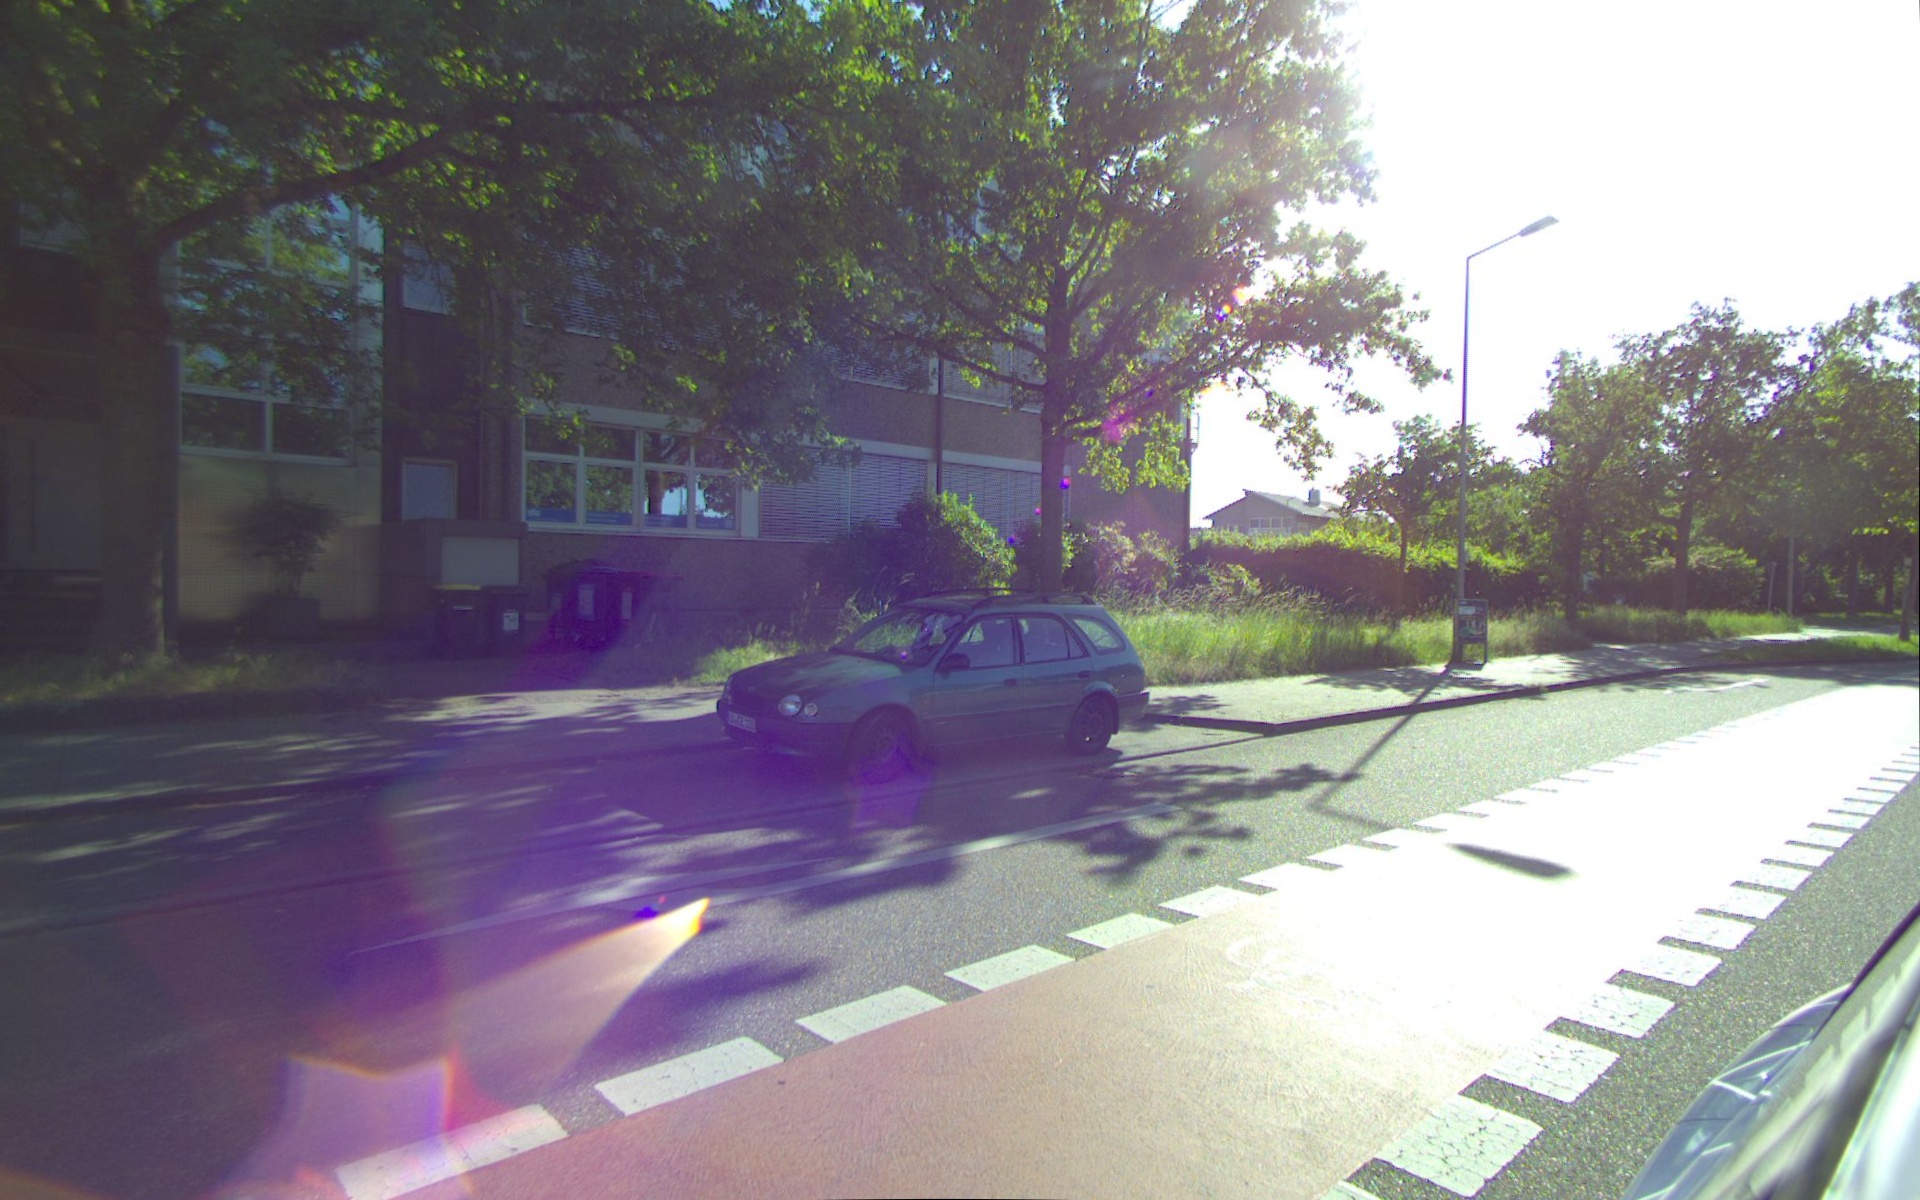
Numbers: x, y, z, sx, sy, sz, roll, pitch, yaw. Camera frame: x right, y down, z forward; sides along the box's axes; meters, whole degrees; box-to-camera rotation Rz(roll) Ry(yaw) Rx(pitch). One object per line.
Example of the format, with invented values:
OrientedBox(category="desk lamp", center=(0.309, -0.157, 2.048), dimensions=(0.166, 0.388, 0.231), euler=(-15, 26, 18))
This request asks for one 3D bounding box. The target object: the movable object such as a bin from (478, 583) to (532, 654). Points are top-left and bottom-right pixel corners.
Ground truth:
OrientedBox(category="movable object such as a bin", center=(-6.742, 0.265, 14.993), dimensions=(0.566, 1.020, 0.629), euler=(-1, 1, -41))

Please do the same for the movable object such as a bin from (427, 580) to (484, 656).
OrientedBox(category="movable object such as a bin", center=(-7.235, 0.242, 14.521), dimensions=(0.571, 1.045, 0.713), euler=(0, 1, -41))

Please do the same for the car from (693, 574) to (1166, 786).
OrientedBox(category="car", center=(-0.112, 0.527, 9.084), dimensions=(4.129, 1.446, 1.596), euler=(-1, 3, -40))
